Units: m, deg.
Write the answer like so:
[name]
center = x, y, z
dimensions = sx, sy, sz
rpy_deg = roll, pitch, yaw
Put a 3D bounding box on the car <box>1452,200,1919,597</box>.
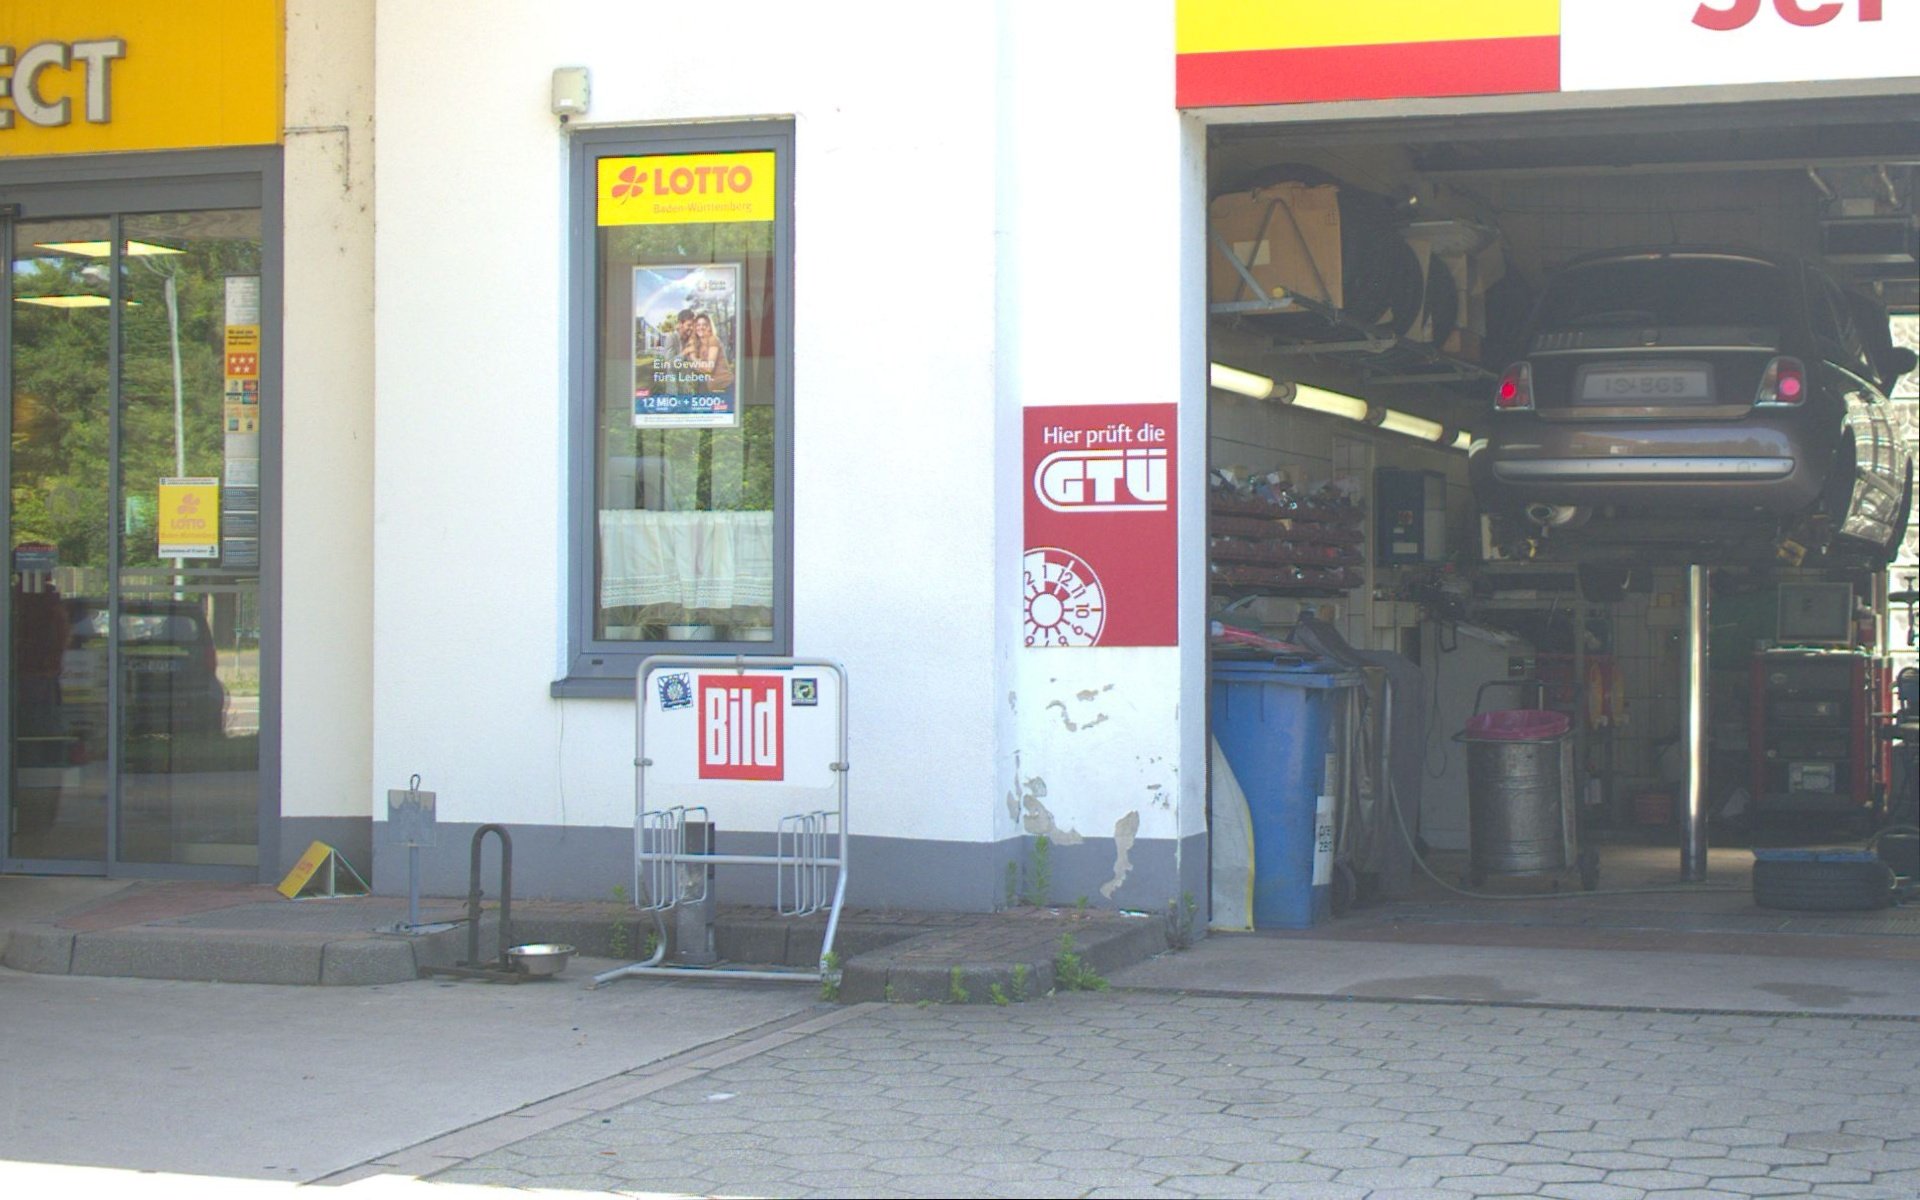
[car]
center = 3.588, -0.831, 16.293
dimensions = 1.648, 1.481, 3.995
rpy_deg = 0, -2, 21
